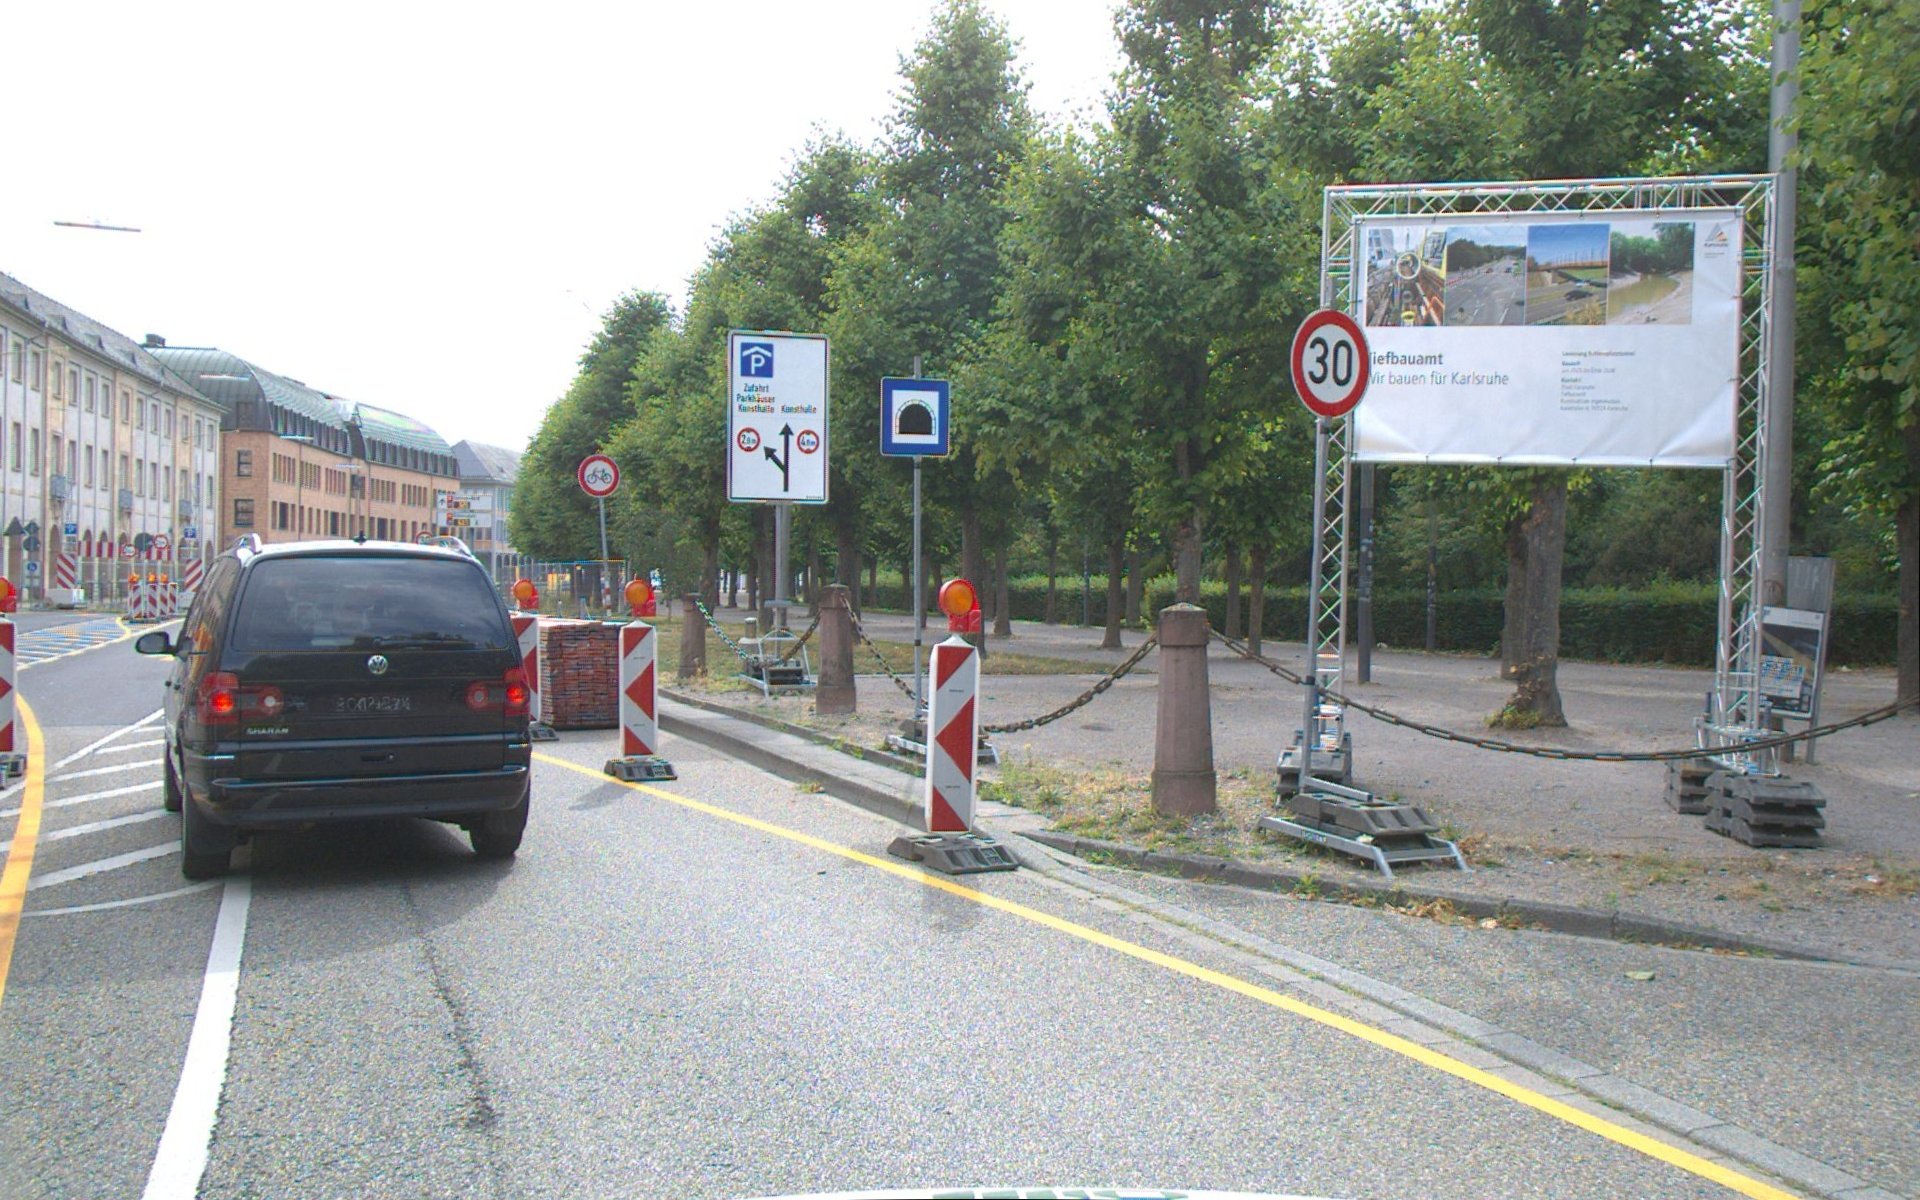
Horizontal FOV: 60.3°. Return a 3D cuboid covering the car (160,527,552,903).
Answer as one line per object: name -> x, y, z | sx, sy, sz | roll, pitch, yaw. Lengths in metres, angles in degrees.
car -> -3.784, 0.502, 9.899 | 1.772, 1.738, 4.096 | 0, 1, -26

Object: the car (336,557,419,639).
car -> -16.182, -0.108, 45.817 | 1.966, 2.048, 4.316 | 0, 2, -22
